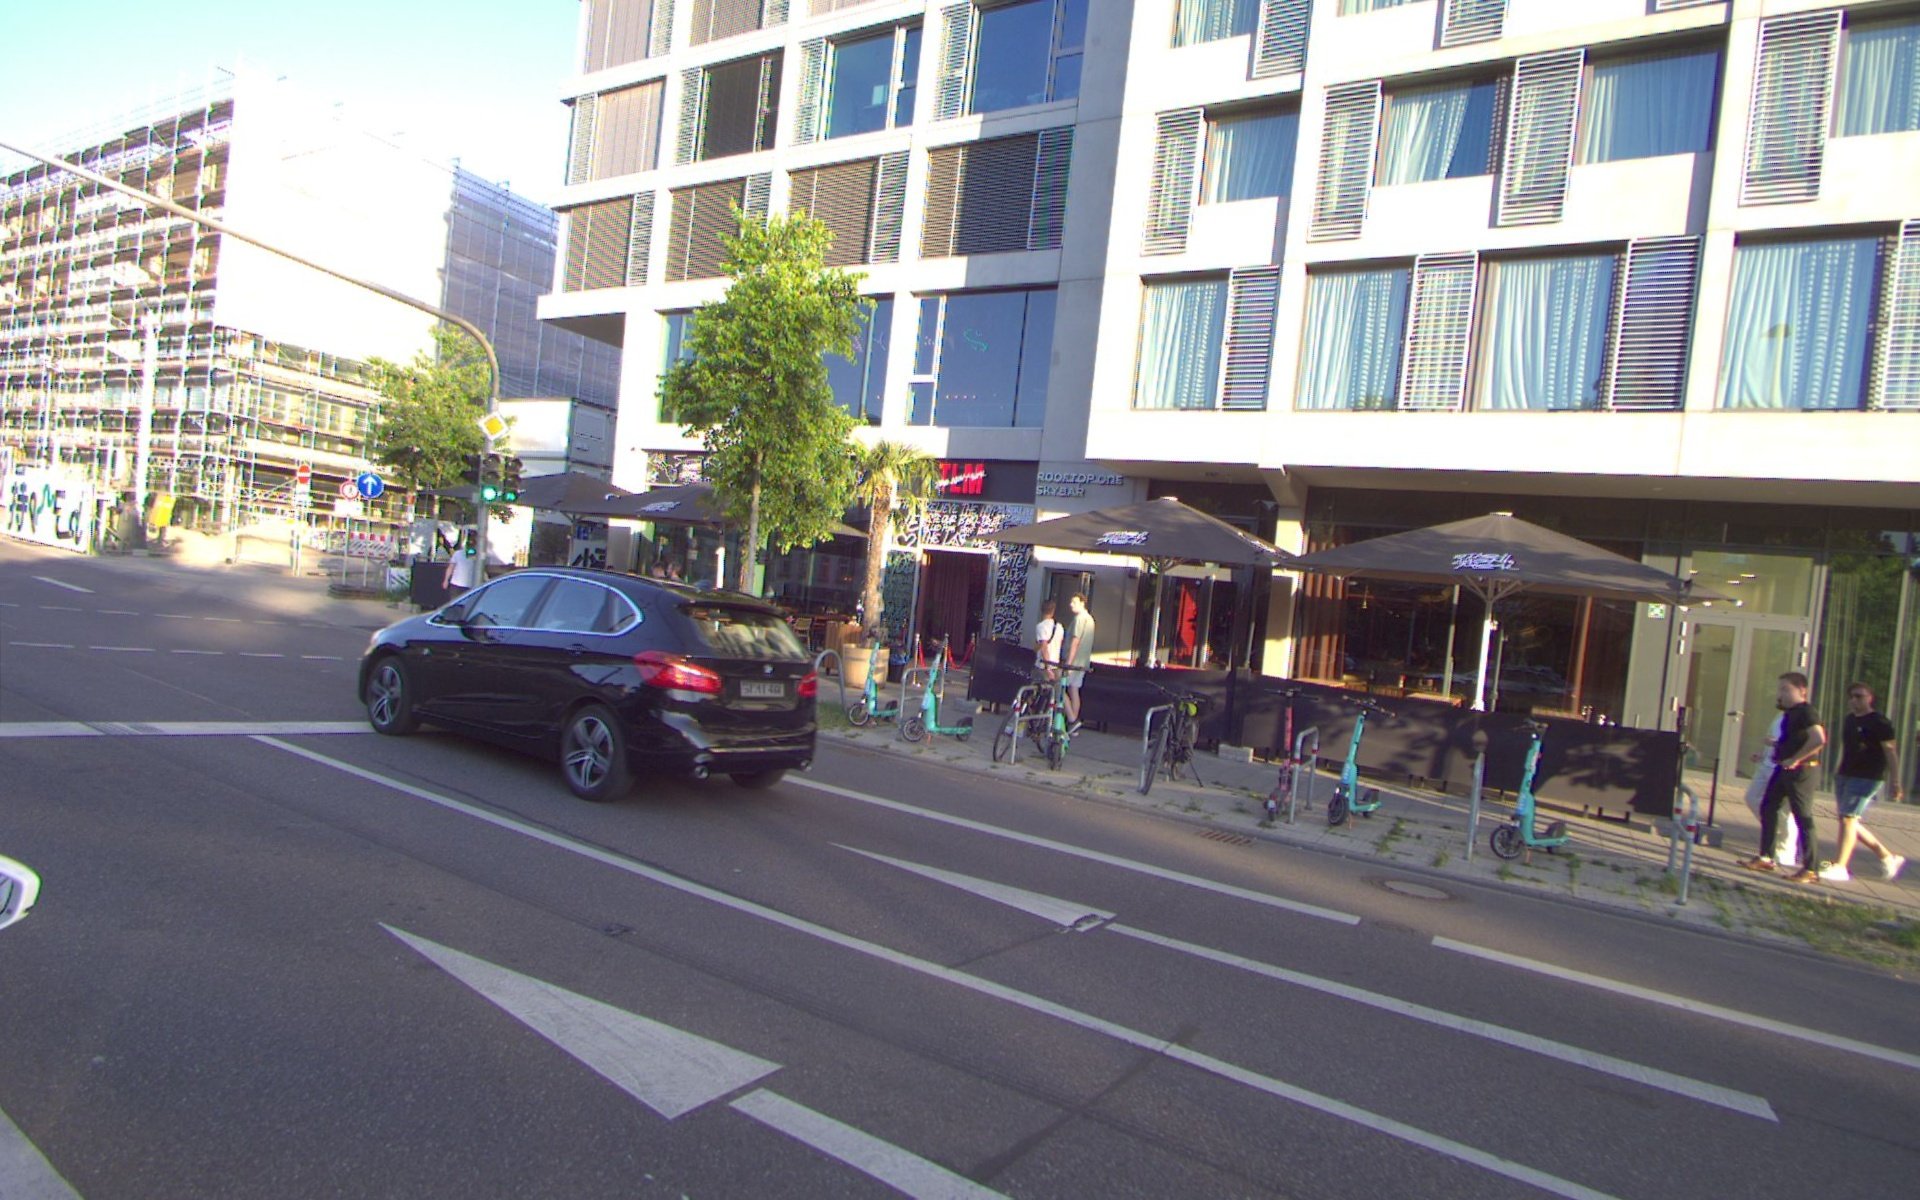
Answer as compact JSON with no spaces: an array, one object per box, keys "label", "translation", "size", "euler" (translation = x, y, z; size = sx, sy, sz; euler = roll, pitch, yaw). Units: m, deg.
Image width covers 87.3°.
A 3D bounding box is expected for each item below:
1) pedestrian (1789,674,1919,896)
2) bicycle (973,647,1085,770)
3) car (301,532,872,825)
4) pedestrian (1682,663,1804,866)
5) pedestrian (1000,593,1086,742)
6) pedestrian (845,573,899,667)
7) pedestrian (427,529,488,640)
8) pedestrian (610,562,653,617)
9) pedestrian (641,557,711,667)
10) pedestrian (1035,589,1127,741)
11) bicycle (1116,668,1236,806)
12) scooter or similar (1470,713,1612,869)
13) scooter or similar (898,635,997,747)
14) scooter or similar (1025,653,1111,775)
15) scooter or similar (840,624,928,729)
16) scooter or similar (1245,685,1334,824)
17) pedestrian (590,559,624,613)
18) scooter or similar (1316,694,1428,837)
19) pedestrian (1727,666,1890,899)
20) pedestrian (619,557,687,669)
[{"label":"pedestrian","translation":[8.465,1.672,9.390],"size":[0.927,1.849,0.755],"euler":[7,3,39]},{"label":"bicycle","translation":[0.832,1.198,11.624],"size":[0.557,1.210,1.796],"euler":[7,2,25]},{"label":"car","translation":[-3.212,0.480,8.249],"size":[4.713,1.537,1.823],"euler":[7,-1,33]},{"label":"pedestrian","translation":[7.785,1.598,10.021],"size":[0.765,1.837,0.617],"euler":[7,4,39]},{"label":"pedestrian","translation":[1.074,0.849,12.996],"size":[0.814,1.810,0.577],"euler":[5,2,27]},{"label":"pedestrian","translation":[-1.691,0.390,19.371],"size":[0.567,1.726,0.855],"euler":[7,2,21]},{"label":"pedestrian","translation":[-8.922,-0.274,17.849],"size":[0.763,1.872,0.672],"euler":[5,2,-34]},{"label":"pedestrian","translation":[-8.550,-0.272,26.200],"size":[0.705,1.337,0.743],"euler":[8,5,43]},{"label":"pedestrian","translation":[-4.829,0.202,17.105],"size":[0.748,1.758,0.685],"euler":[7,4,30]},{"label":"pedestrian","translation":[1.639,0.848,13.520],"size":[0.851,1.913,0.825],"euler":[5,2,27]},{"label":"bicycle","translation":[2.328,1.390,10.656],"size":[0.598,1.198,1.847],"euler":[7,3,30]},{"label":"scooter or similar","translation":[5.263,1.682,9.096],"size":[1.283,1.235,0.530],"euler":[3,3,-36]},{"label":"scooter or similar","translation":[-0.146,1.070,12.125],"size":[0.542,1.240,1.059],"euler":[7,3,39]},{"label":"scooter or similar","translation":[1.226,1.242,11.300],"size":[0.471,1.218,1.211],"euler":[7,3,25]},{"label":"scooter or similar","translation":[-0.970,0.965,13.017],"size":[0.588,1.240,1.053],"euler":[7,3,26]},{"label":"scooter or similar","translation":[3.310,1.502,10.063],"size":[0.501,1.207,1.156],"euler":[5,2,32]},{"label":"pedestrian","translation":[-9.348,-0.372,26.633],"size":[0.610,1.337,0.613],"euler":[2,5,-42]},{"label":"scooter or similar","translation":[4.016,1.567,9.783],"size":[1.123,1.230,0.525],"euler":[3,2,-45]},{"label":"pedestrian","translation":[7.692,1.600,9.166],"size":[0.927,1.874,0.742],"euler":[7,4,39]},{"label":"pedestrian","translation":[-4.980,0.214,16.320],"size":[0.677,1.725,0.654],"euler":[7,3,30]}]
